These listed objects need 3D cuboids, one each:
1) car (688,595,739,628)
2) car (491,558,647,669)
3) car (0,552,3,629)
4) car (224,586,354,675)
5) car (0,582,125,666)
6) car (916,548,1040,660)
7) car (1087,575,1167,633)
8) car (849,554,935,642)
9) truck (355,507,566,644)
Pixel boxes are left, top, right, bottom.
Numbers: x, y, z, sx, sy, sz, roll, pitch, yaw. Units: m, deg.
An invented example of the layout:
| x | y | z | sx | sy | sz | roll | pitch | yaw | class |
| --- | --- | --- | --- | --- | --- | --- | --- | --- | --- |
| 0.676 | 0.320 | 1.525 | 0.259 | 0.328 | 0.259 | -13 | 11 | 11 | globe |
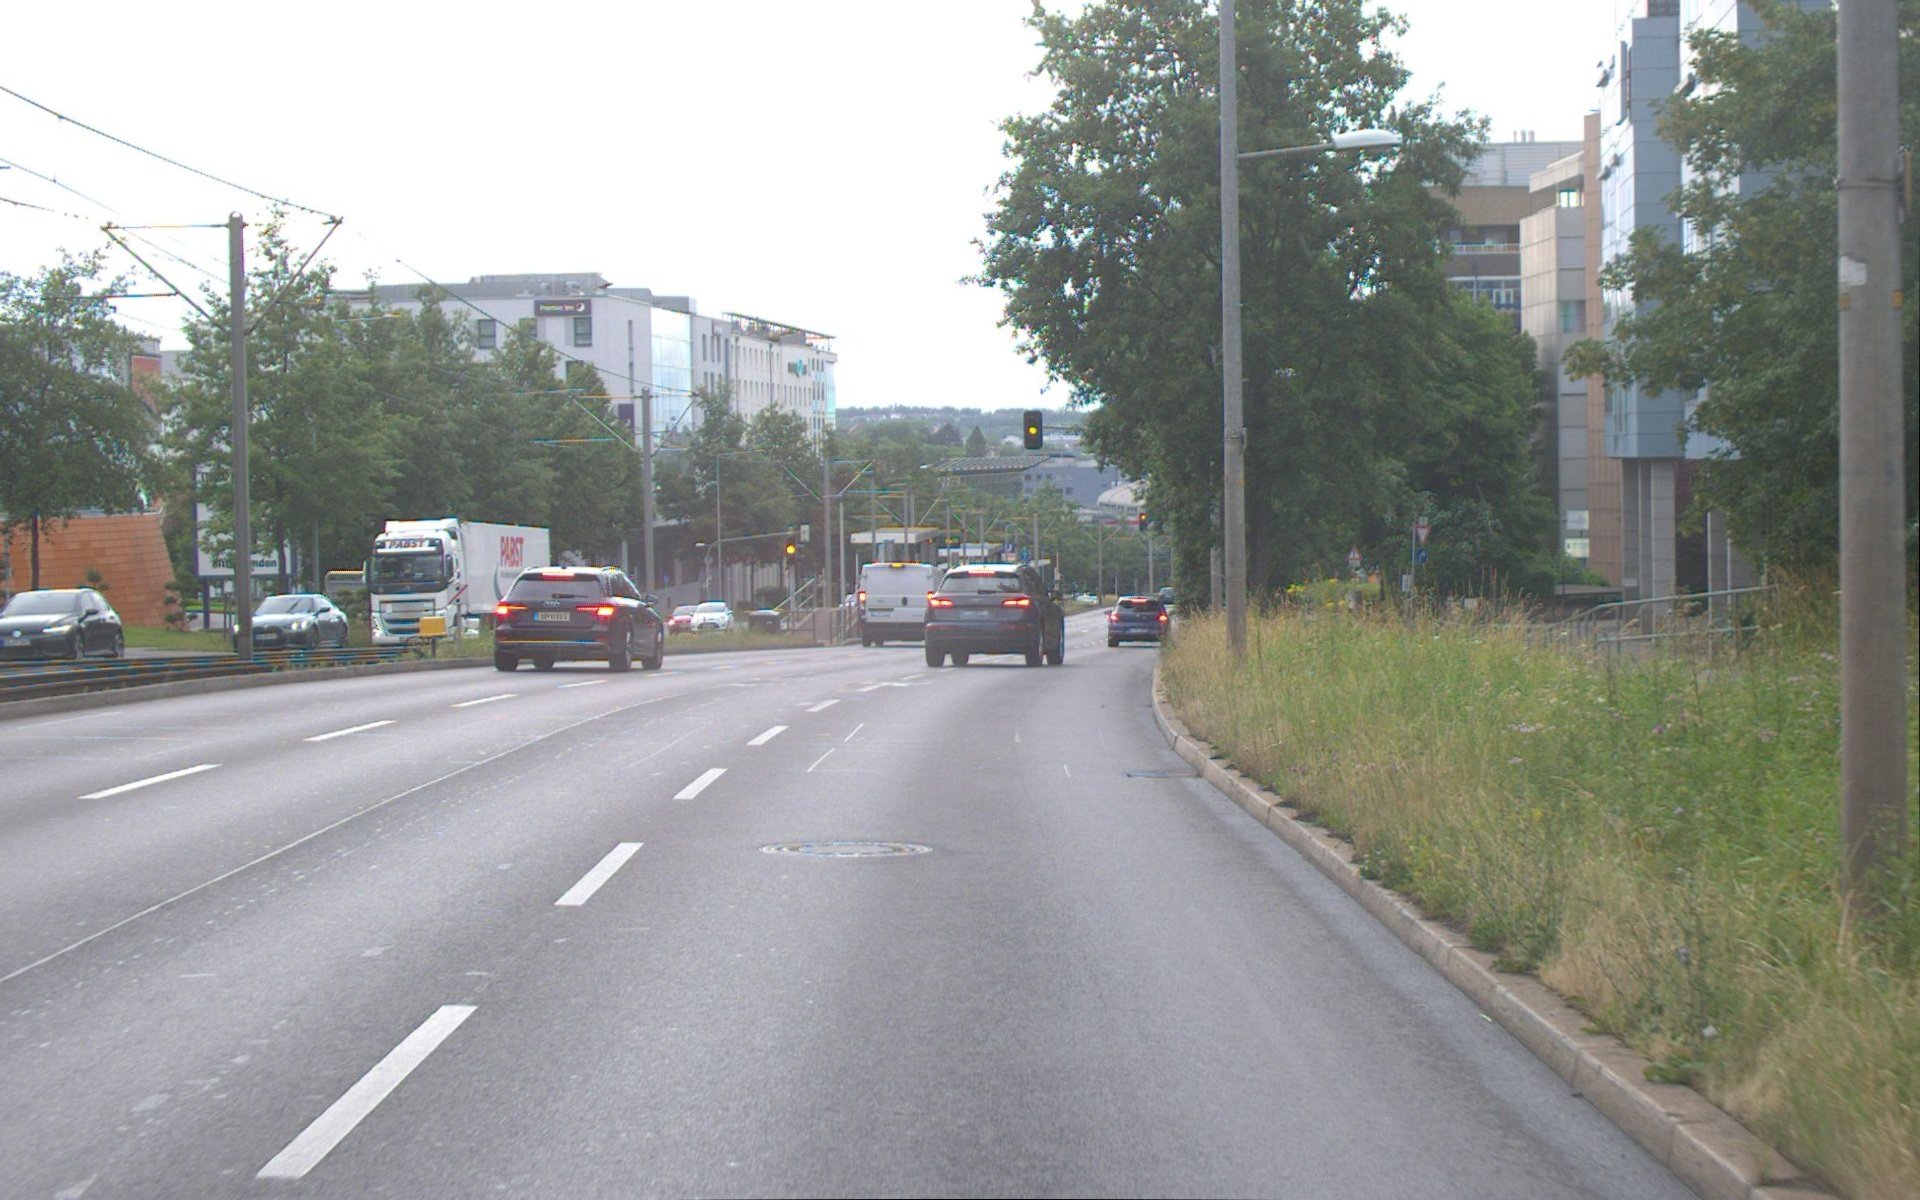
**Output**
| x | y | z | sx | sy | sz | roll | pitch | yaw | class |
| --- | --- | --- | --- | --- | --- | --- | --- | --- | --- |
| -11.051 | 0.522 | 154.450 | 1.663 | 1.437 | 3.895 | 1 | -1 | 5 | car |
| -5.322 | 0.148 | 47.300 | 1.785 | 1.409 | 4.806 | 1 | 1 | -2 | car |
| -31.627 | -0.331 | 103.538 | 5.301 | 2.305 | 2.021 | 1 | -1 | -14 | car |
| -15.578 | 0.716 | 80.057 | 2.013 | 1.969 | 4.616 | 1 | -1 | 1 | car |
| -16.645 | 0.439 | 62.657 | 1.667 | 1.457 | 4.238 | 1 | -1 | 2 | car |
| 0.311 | 0.028 | 56.033 | 1.922 | 1.705 | 4.098 | 1 | 1 | 1 | car |
| 4.797 | 0.107 | 99.052 | 1.789 | 1.585 | 4.001 | -1 | 1 | -4 | car |
| -1.849 | -0.089 | 93.806 | 2.268 | 2.277 | 4.760 | 1 | 1 | -1 | car |
| -16.235 | -0.839 | 113.517 | 3.042 | 4.166 | 17.199 | 1 | 1 | 5 | truck |
